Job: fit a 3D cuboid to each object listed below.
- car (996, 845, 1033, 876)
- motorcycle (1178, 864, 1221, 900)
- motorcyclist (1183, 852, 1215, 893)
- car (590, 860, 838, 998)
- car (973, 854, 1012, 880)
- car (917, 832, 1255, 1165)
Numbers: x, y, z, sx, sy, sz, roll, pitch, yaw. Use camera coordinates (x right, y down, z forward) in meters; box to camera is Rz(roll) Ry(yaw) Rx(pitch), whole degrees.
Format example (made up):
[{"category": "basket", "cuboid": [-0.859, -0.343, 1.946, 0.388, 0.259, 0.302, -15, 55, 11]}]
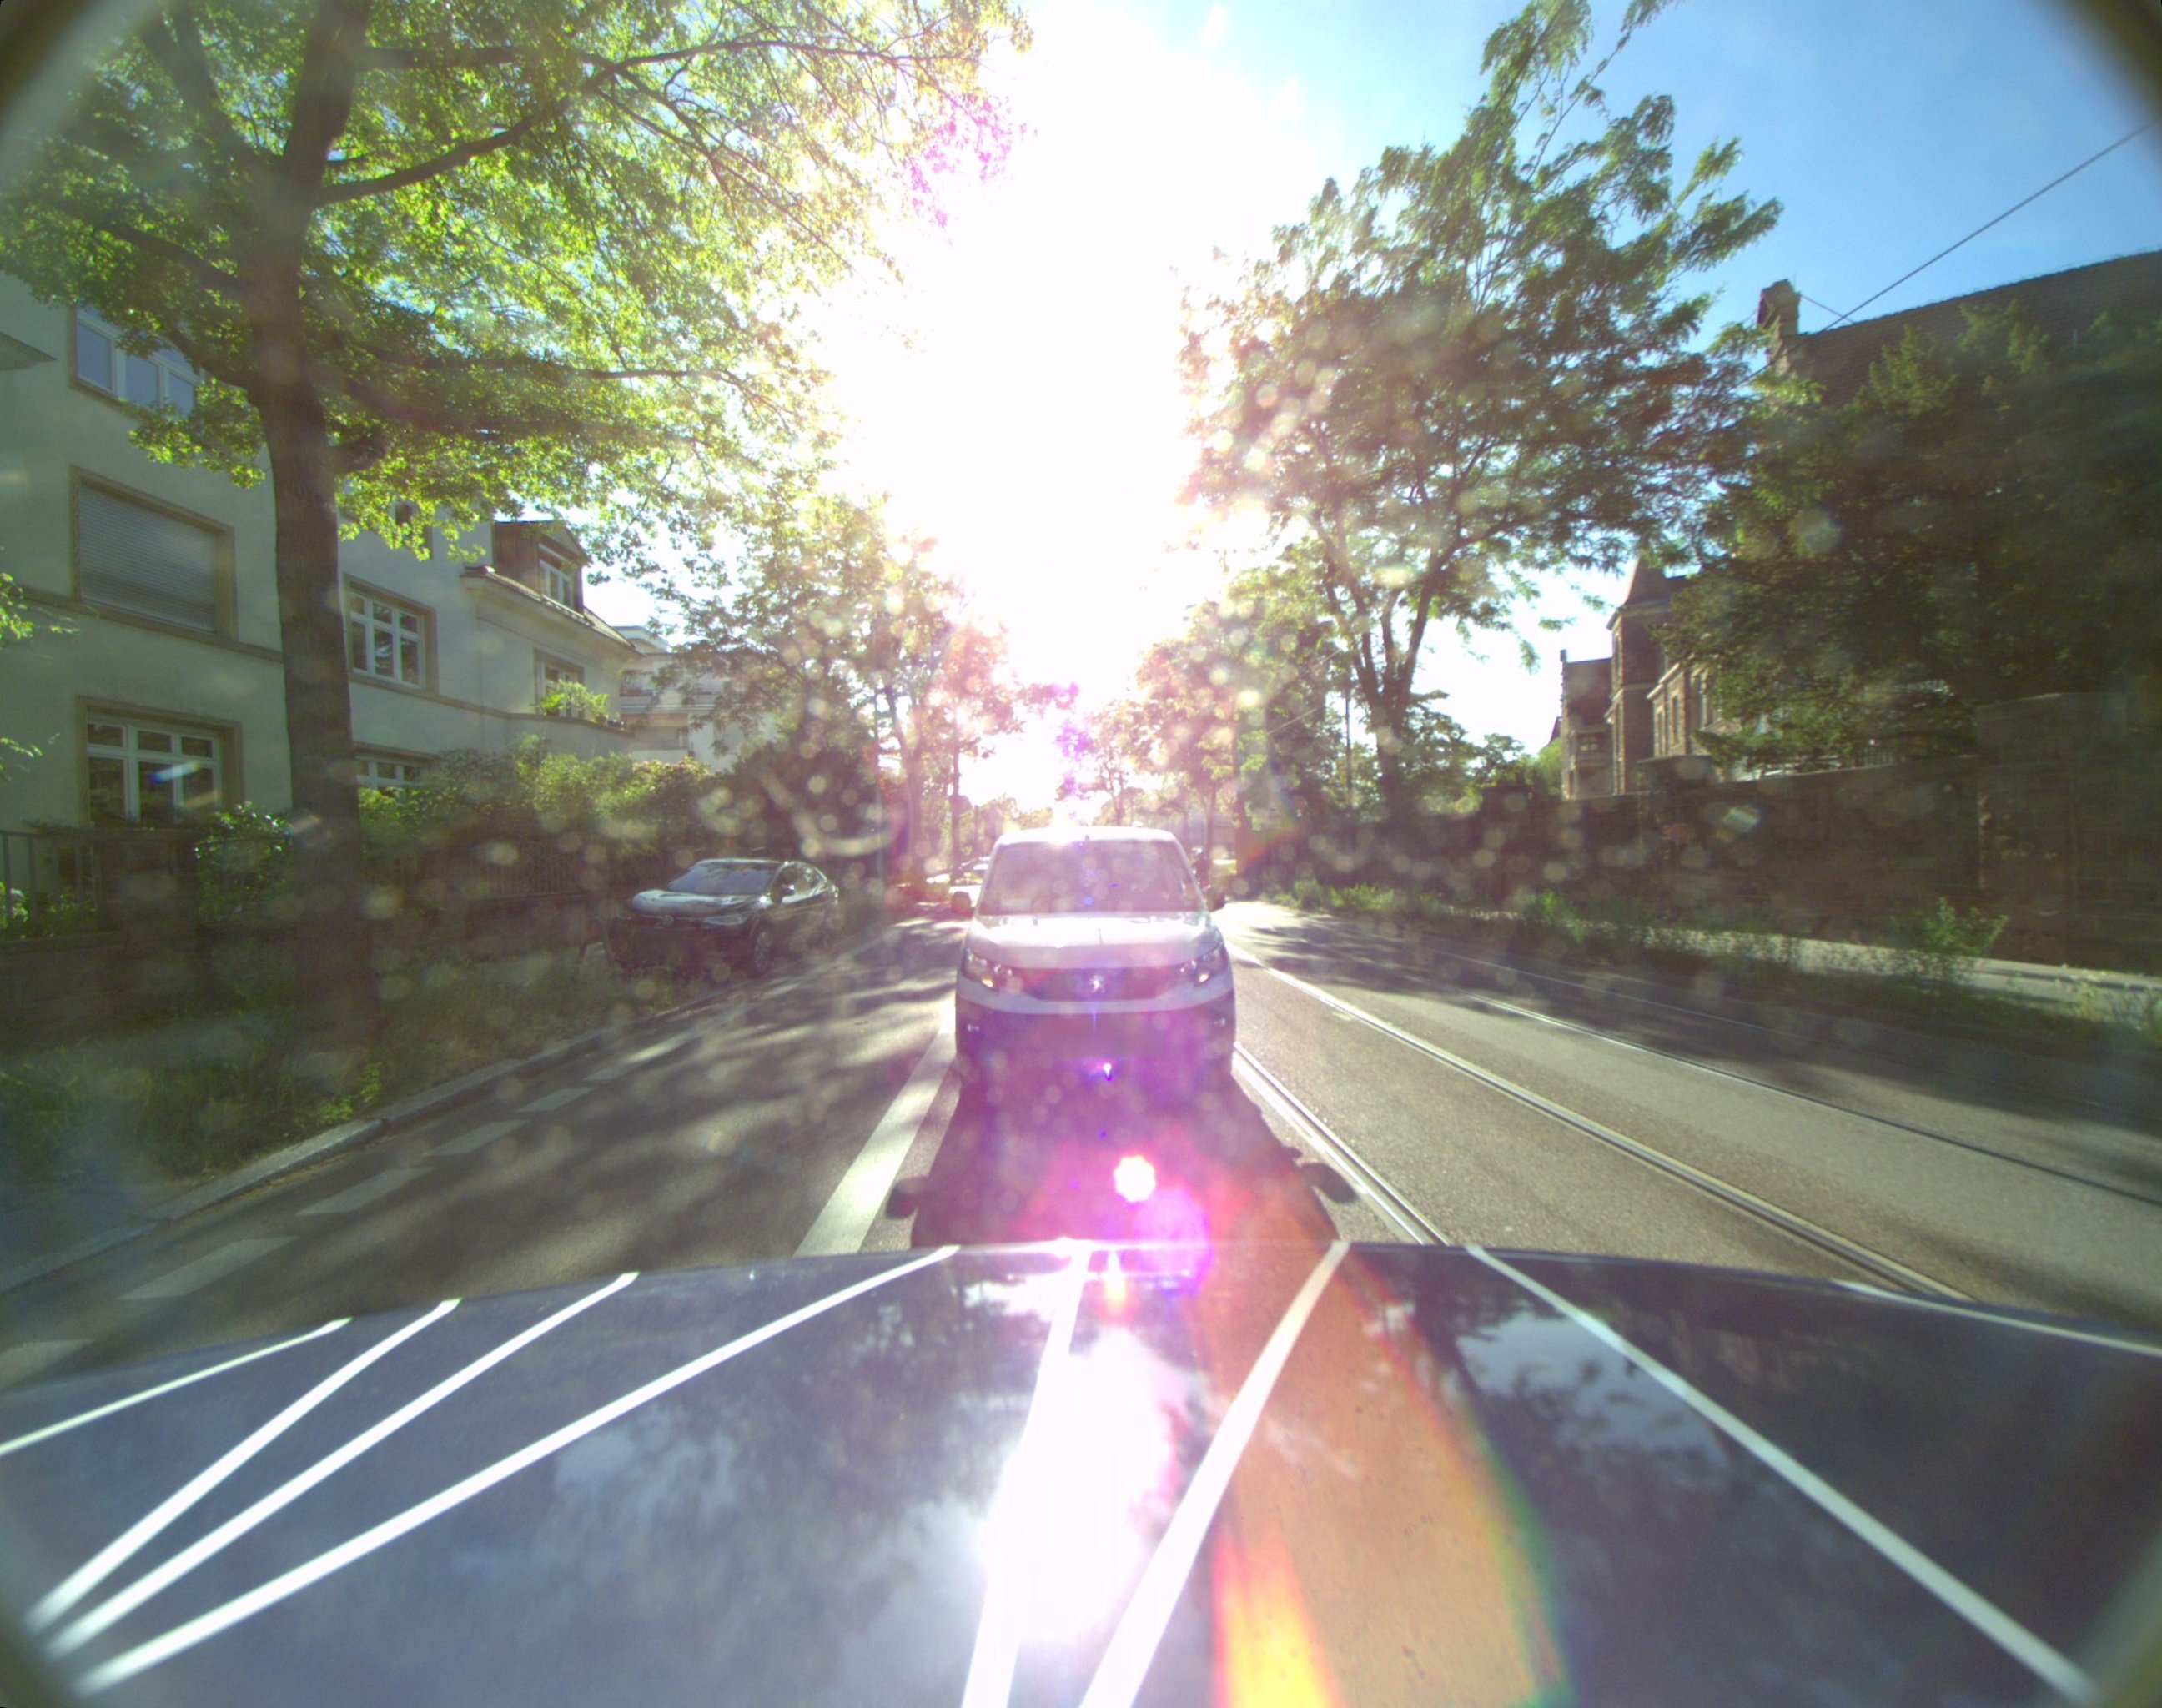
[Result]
[{"category": "car", "cuboid": [-4.503, 0.428, 51.923, 1.998, 2.002, 4.583, -2, 0, 1]}, {"category": "motorcycle", "cuboid": [4.106, 0.953, 26.501, 0.914, 1.146, 2.427, -2, 0, -5]}, {"category": "motorcyclist", "cuboid": [4.100, 0.629, 26.534, 0.891, 1.375, 0.908, -2, 1, -5]}, {"category": "car", "cuboid": [-5.169, 0.943, 11.403, 1.744, 1.597, 4.091, 2, 0, -1]}, {"category": "car", "cuboid": [-5.254, 0.750, 45.457, 1.787, 1.443, 4.000, -2, 0, 1]}, {"category": "car", "cuboid": [0.045, 0.782, 6.530, 1.793, 1.770, 4.786, -2, 0, 0]}]
